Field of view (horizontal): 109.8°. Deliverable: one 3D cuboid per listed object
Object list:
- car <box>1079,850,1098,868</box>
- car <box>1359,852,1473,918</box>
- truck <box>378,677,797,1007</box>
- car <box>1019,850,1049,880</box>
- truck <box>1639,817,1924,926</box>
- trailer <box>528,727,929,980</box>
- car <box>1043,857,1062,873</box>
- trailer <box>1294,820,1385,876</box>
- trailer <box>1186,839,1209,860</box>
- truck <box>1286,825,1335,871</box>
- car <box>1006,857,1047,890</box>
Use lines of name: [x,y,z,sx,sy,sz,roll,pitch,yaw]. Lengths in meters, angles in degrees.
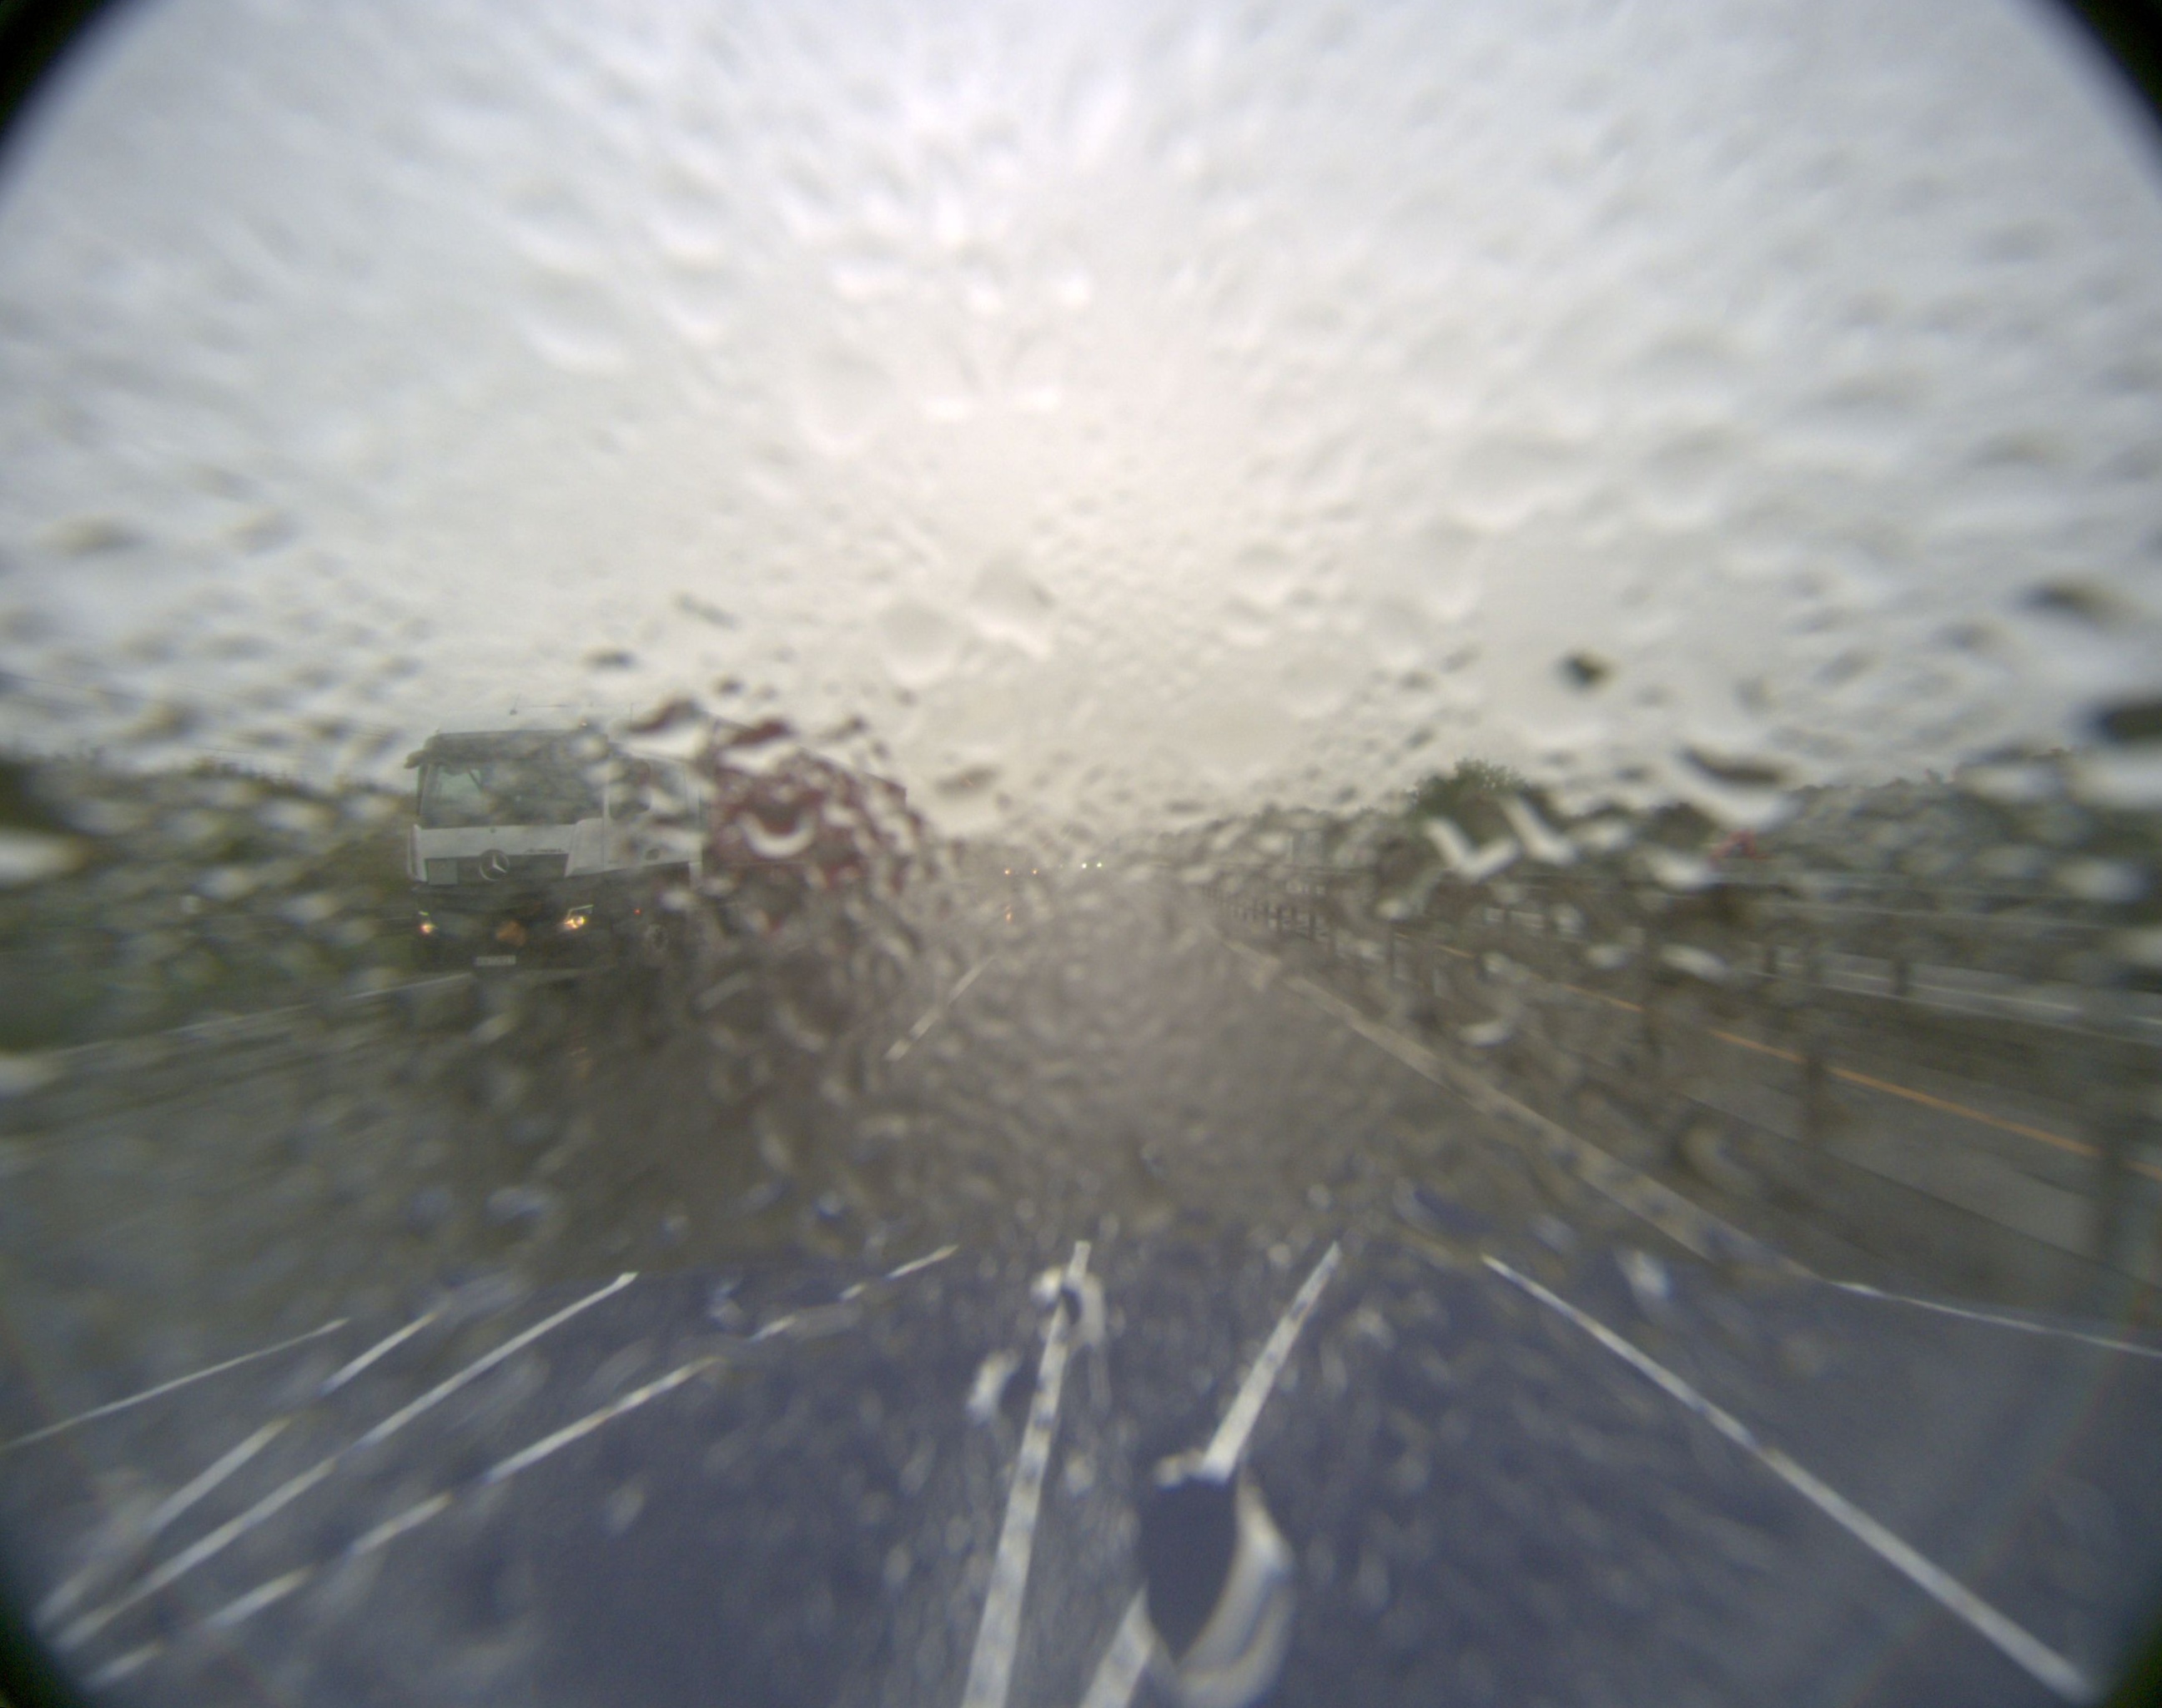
car: [0.740,0.502,76.463,1.845,1.671,4.000,-2,0,0]
car: [11.906,1.007,27.390,1.998,2.092,4.766,-2,0,0]
truck: [-7.080,-0.149,12.217,2.457,3.866,6.199,-2,0,1]
car: [-2.699,0.624,44.049,1.517,1.607,3.186,-2,0,0]
truck: [19.426,0.414,21.701,2.333,2.604,6.263,-2,0,0]
trailer: [-6.991,-0.039,19.794,2.486,3.743,16.543,-2,0,0]
car: [-3.146,1.164,84.662,1.845,1.671,4.000,-2,0,0]
trailer: [19.906,-0.463,59.656,2.640,3.782,13.584,-2,0,1]
trailer: [21.478,-0.815,141.207,2.301,3.782,13.611,-2,0,1]
truck: [20.030,-0.482,66.645,2.629,3.783,5.400,-2,0,1]
car: [-2.703,0.955,38.421,1.663,1.491,3.836,-2,0,1]
